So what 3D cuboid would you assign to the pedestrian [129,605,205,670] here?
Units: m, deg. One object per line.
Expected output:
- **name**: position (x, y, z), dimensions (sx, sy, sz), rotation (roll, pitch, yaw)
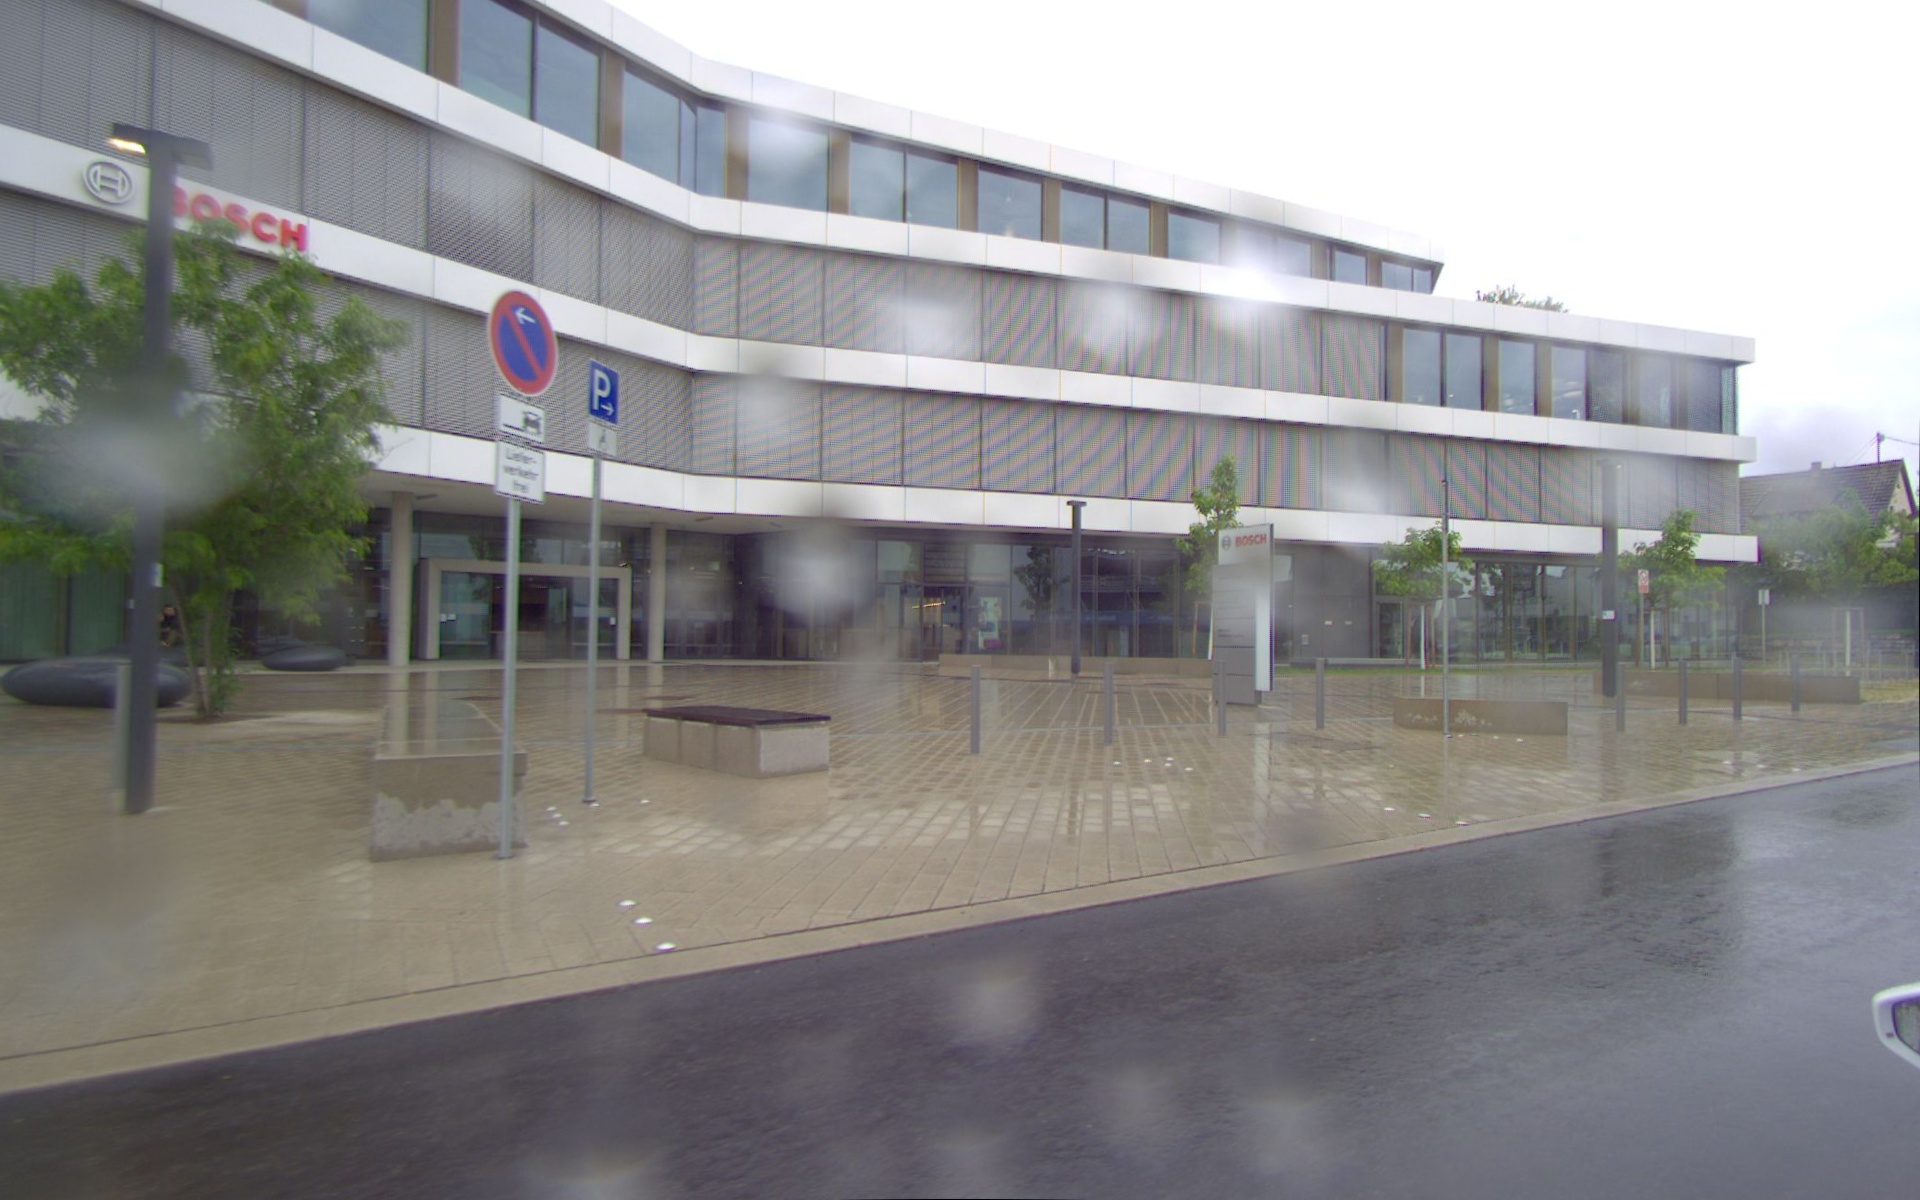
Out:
- **pedestrian**: position (-17.639, 0.822, 22.345), dimensions (0.883, 1.332, 1.059), rotation (4, 1, 33)
